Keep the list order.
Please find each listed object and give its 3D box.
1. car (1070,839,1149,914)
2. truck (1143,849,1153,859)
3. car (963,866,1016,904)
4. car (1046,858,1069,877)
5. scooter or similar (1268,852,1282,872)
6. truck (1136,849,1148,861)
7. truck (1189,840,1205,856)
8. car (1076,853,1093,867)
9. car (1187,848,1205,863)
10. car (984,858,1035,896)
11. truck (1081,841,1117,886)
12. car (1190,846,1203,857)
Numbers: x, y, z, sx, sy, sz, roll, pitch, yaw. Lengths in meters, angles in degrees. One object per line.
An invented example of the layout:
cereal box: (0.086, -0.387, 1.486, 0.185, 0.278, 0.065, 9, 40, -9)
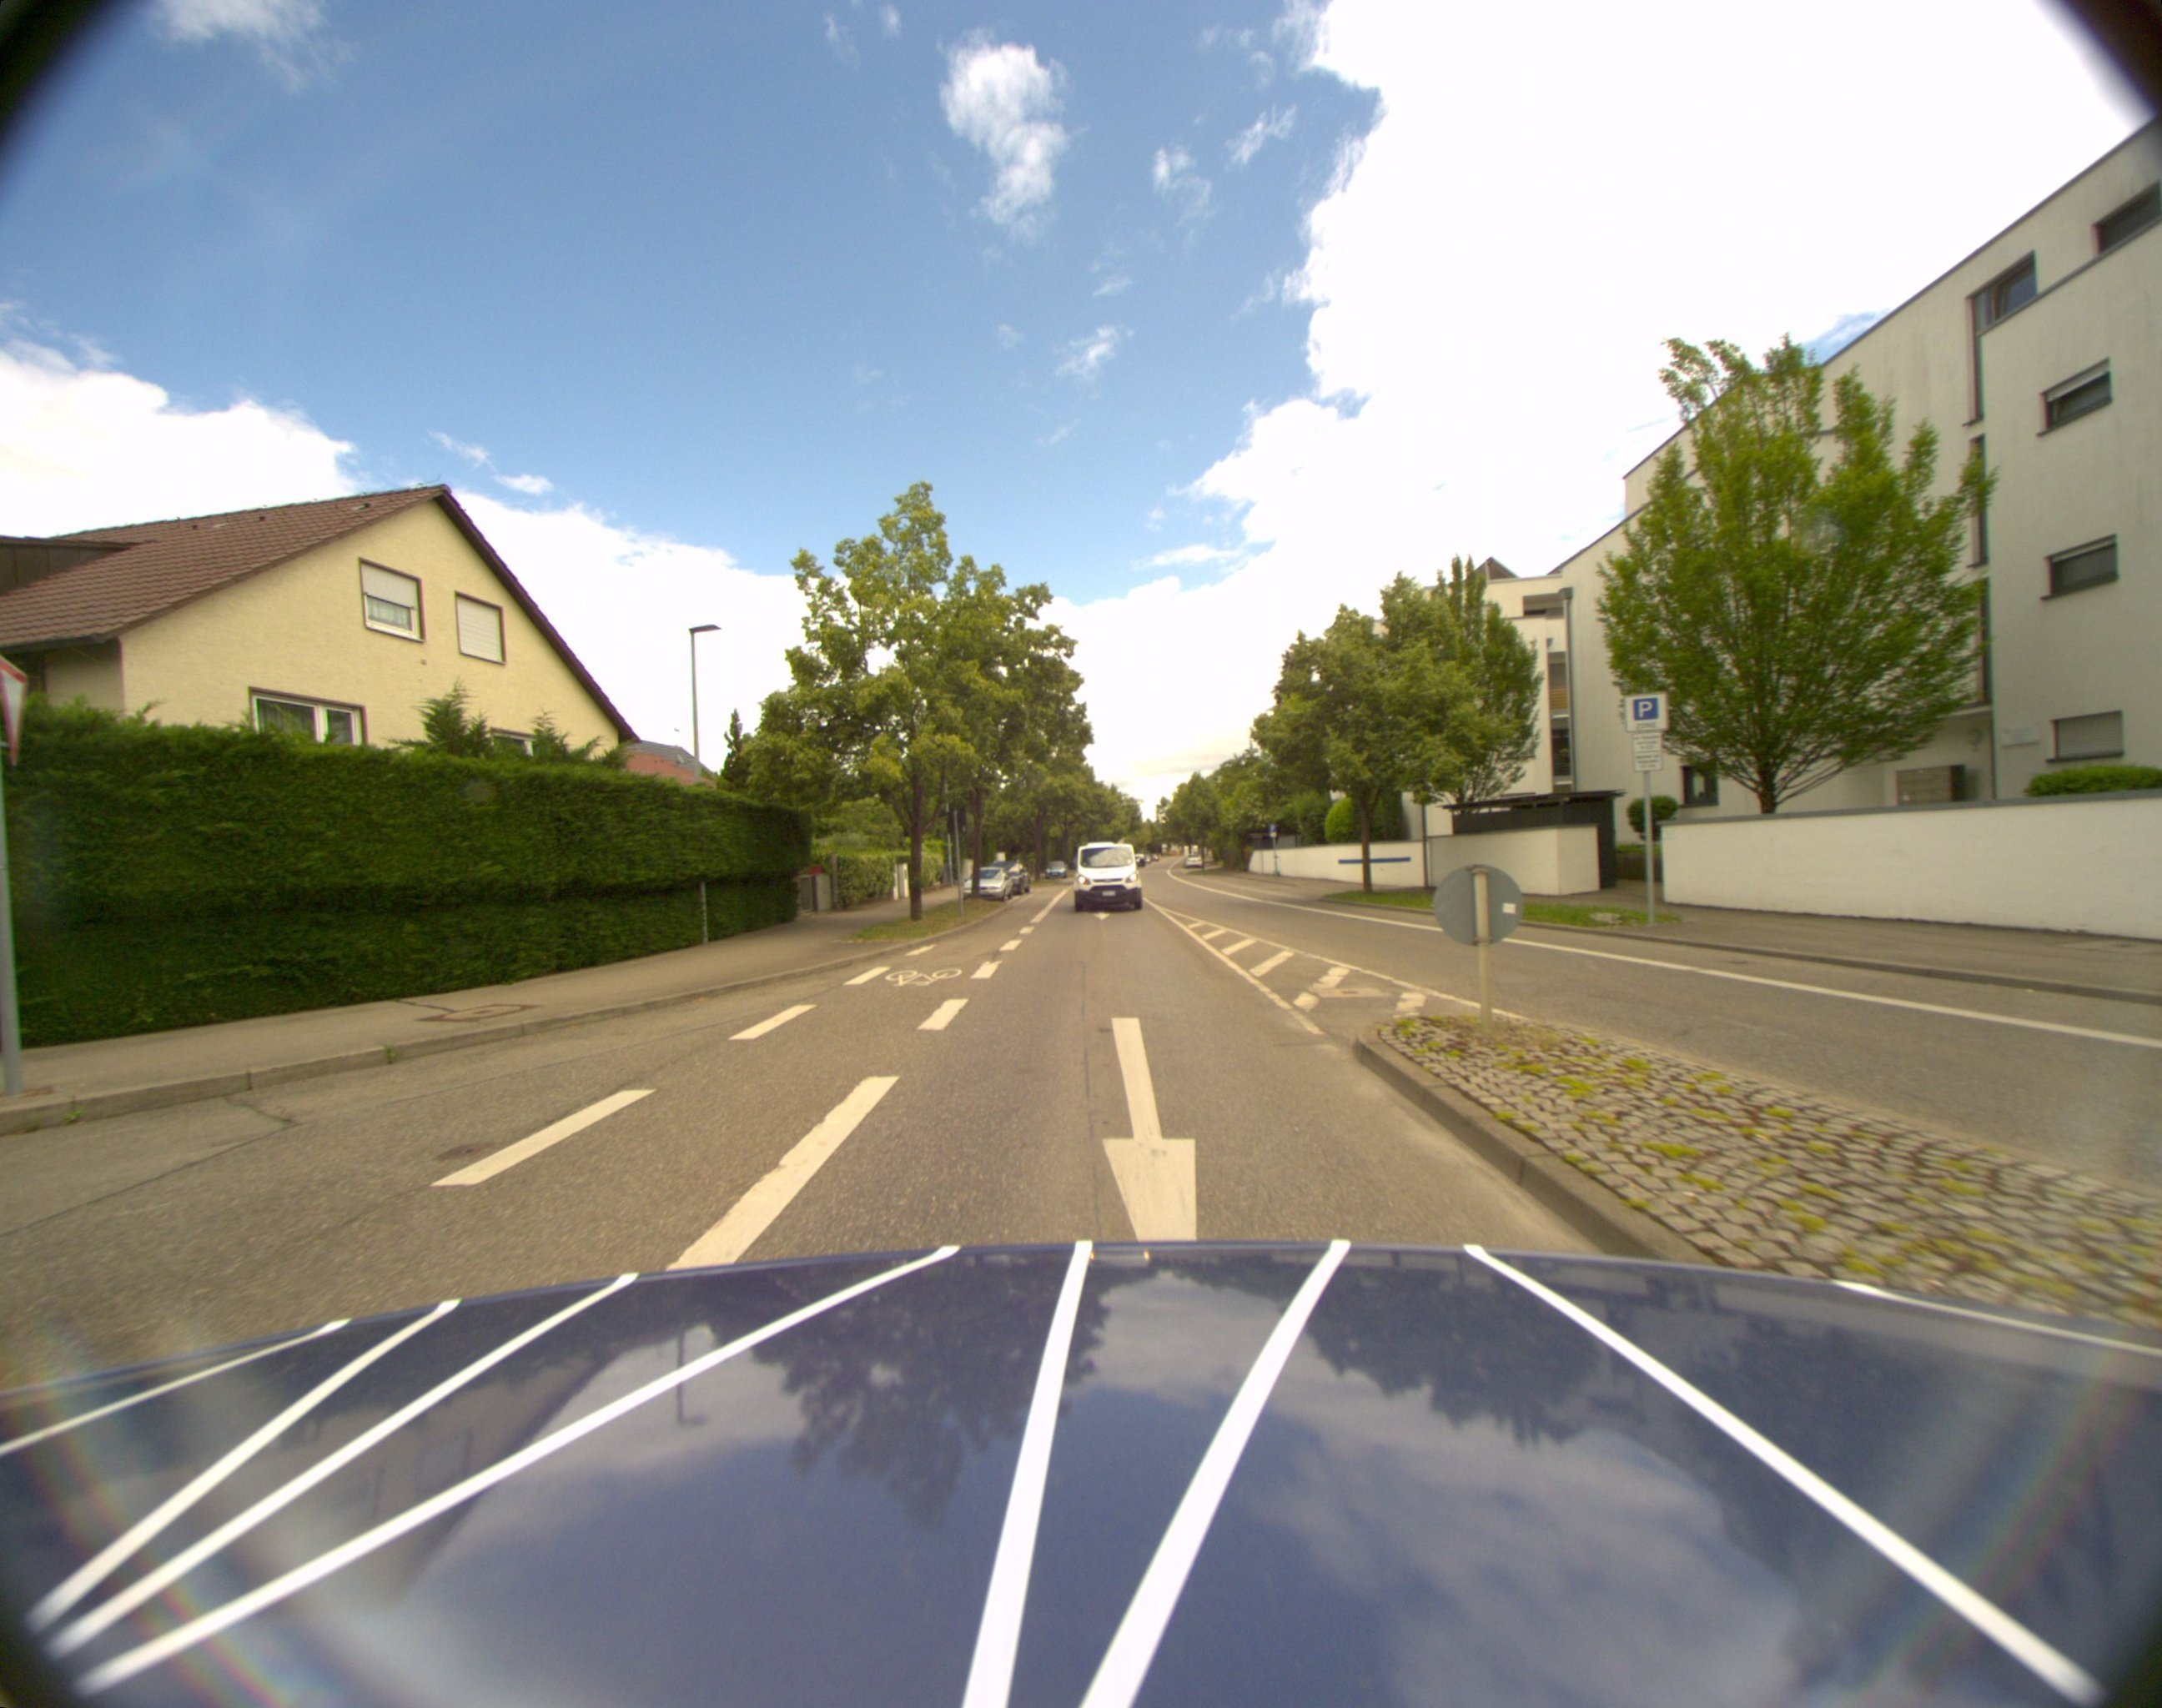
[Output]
car: (0.969, 0.600, 23.833, 2.075, 1.956, 5.558, -3, 0, 4)
truck: (12.163, -0.019, 138.388, 1.618, 1.649, 4.002, -2, 0, 6)
car: (-3.637, 1.209, 30.599, 1.561, 1.343, 3.540, -1, 0, 2)
car: (-1.927, 1.131, 64.438, 1.666, 1.398, 3.658, -2, 1, 2)
scooter or similar: (11.579, 0.457, 45.321, 0.434, 1.159, 1.327, -6, 0, 3)
truck: (9.300, 0.122, 115.336, 1.614, 1.780, 4.002, -2, 0, 6)
truck: (21.433, -1.072, 141.010, 2.640, 2.757, 6.259, -3, 1, 7)
car: (0.469, 0.744, 93.699, 1.776, 1.588, 3.816, -2, 0, 4)
car: (13.362, 0.176, 88.108, 1.916, 1.643, 4.002, -2, 0, 9)
car: (-3.370, 1.058, 36.674, 1.770, 1.626, 4.548, -2, 0, 3)
truck: (1.152, 0.526, 47.539, 2.036, 2.555, 6.058, -2, 0, 2)
car: (17.382, -0.416, 114.395, 1.888, 1.606, 4.002, -2, 0, 9)
